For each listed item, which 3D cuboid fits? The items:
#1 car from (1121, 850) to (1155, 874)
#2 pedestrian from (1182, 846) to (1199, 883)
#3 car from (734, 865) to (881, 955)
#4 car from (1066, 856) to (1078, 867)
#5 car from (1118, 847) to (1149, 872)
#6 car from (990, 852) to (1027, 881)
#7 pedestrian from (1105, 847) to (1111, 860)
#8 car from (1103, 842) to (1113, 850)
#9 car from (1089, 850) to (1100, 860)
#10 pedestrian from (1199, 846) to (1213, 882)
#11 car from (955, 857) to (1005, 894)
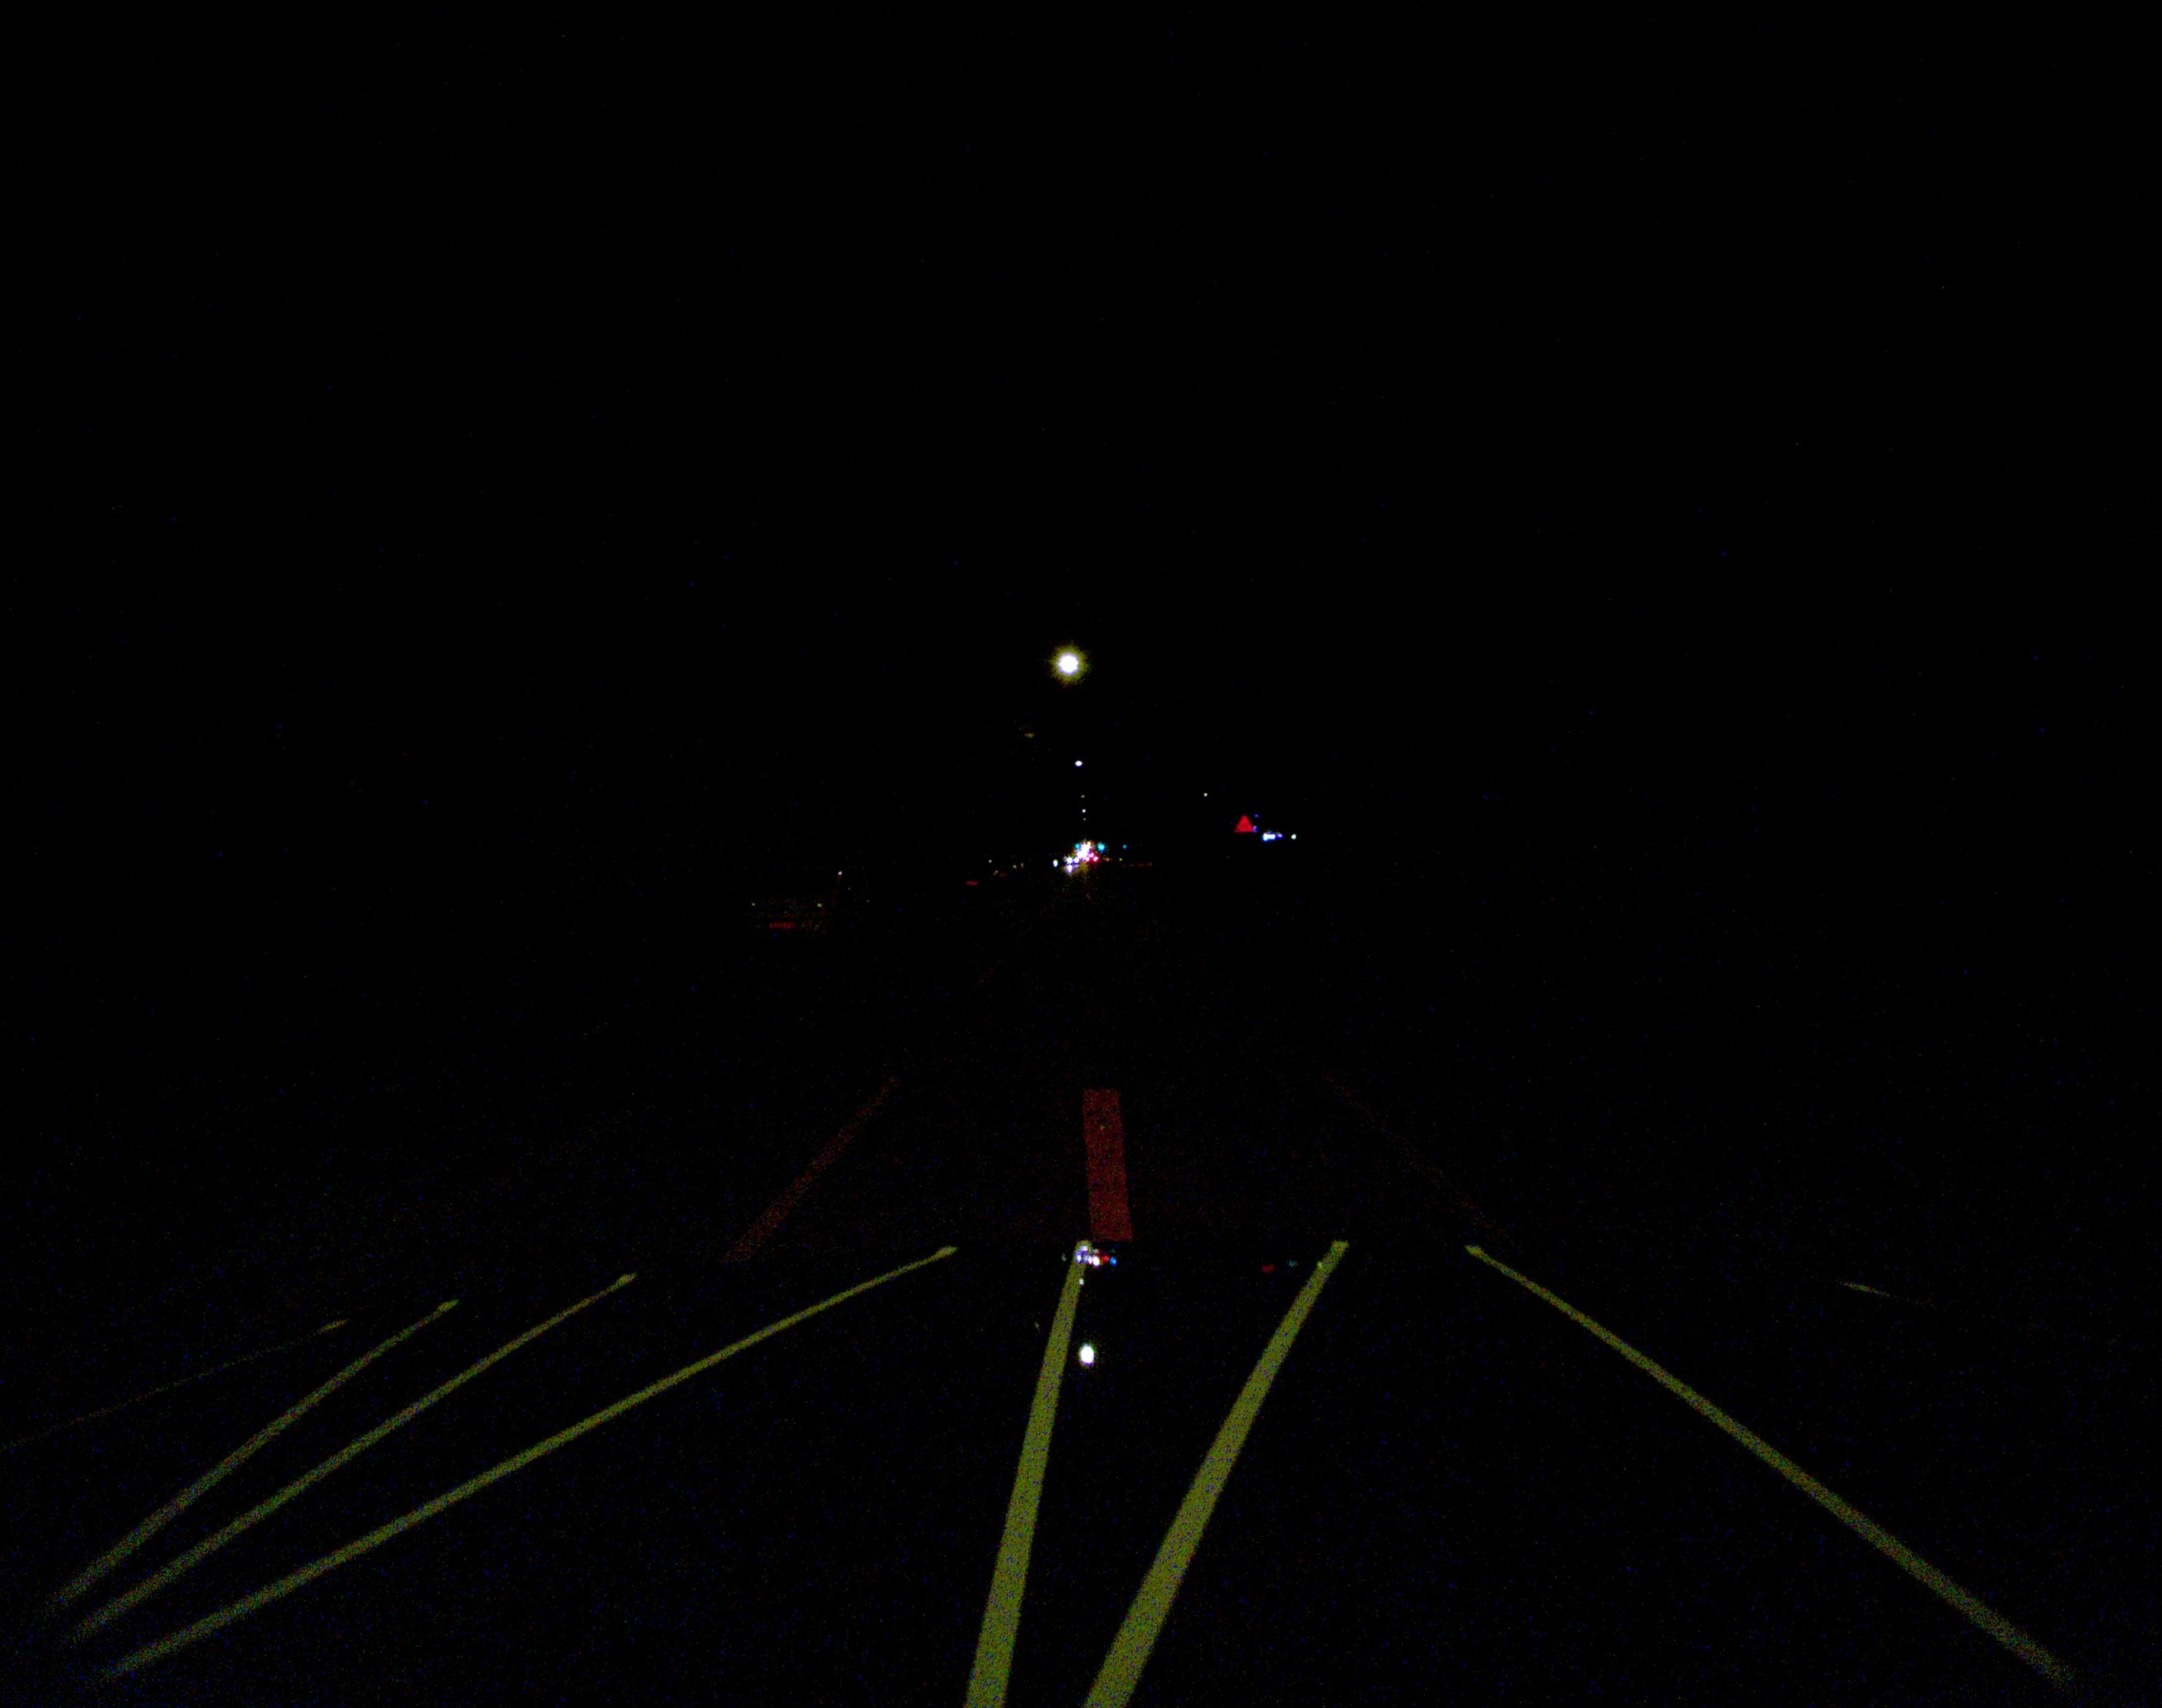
[{"bbox_3d":[3.893,0.509,52.066,1.998,1.477,3.999,-3,1,1],"label":"car"},{"bbox_3d":[5.171,0.490,35.789,0.673,1.750,0.500,-2,1,1],"label":"pedestrian"},{"bbox_3d":[-5.236,1.005,15.014,1.611,1.500,3.486,0,0,1],"label":"car"},{"bbox_3d":[-1.522,1.273,134.423,1.998,1.718,3.803,-2,1,1],"label":"car"},{"bbox_3d":[3.886,0.377,57.004,1.998,1.772,3.999,-2,1,1],"label":"car"},{"bbox_3d":[-4.457,0.748,47.465,1.852,1.643,4.179,-2,0,0],"label":"car"},{"bbox_3d":[4.212,-0.021,117.973,0.804,2.002,0.940,-2,1,1],"label":"pedestrian"},{"bbox_3d":[5.508,-1.599,153.797,1.903,1.581,3.661,-2,1,2],"label":"car"},{"bbox_3d":[2.293,0.205,125.910,1.754,1.433,3.487,-2,-2,1],"label":"car"},{"bbox_3d":[6.068,0.473,36.932,0.565,1.750,0.500,-2,1,1],"label":"pedestrian"},{"bbox_3d":[-4.467,0.902,33.933,1.742,1.489,3.890,-1,0,-1],"label":"car"}]
